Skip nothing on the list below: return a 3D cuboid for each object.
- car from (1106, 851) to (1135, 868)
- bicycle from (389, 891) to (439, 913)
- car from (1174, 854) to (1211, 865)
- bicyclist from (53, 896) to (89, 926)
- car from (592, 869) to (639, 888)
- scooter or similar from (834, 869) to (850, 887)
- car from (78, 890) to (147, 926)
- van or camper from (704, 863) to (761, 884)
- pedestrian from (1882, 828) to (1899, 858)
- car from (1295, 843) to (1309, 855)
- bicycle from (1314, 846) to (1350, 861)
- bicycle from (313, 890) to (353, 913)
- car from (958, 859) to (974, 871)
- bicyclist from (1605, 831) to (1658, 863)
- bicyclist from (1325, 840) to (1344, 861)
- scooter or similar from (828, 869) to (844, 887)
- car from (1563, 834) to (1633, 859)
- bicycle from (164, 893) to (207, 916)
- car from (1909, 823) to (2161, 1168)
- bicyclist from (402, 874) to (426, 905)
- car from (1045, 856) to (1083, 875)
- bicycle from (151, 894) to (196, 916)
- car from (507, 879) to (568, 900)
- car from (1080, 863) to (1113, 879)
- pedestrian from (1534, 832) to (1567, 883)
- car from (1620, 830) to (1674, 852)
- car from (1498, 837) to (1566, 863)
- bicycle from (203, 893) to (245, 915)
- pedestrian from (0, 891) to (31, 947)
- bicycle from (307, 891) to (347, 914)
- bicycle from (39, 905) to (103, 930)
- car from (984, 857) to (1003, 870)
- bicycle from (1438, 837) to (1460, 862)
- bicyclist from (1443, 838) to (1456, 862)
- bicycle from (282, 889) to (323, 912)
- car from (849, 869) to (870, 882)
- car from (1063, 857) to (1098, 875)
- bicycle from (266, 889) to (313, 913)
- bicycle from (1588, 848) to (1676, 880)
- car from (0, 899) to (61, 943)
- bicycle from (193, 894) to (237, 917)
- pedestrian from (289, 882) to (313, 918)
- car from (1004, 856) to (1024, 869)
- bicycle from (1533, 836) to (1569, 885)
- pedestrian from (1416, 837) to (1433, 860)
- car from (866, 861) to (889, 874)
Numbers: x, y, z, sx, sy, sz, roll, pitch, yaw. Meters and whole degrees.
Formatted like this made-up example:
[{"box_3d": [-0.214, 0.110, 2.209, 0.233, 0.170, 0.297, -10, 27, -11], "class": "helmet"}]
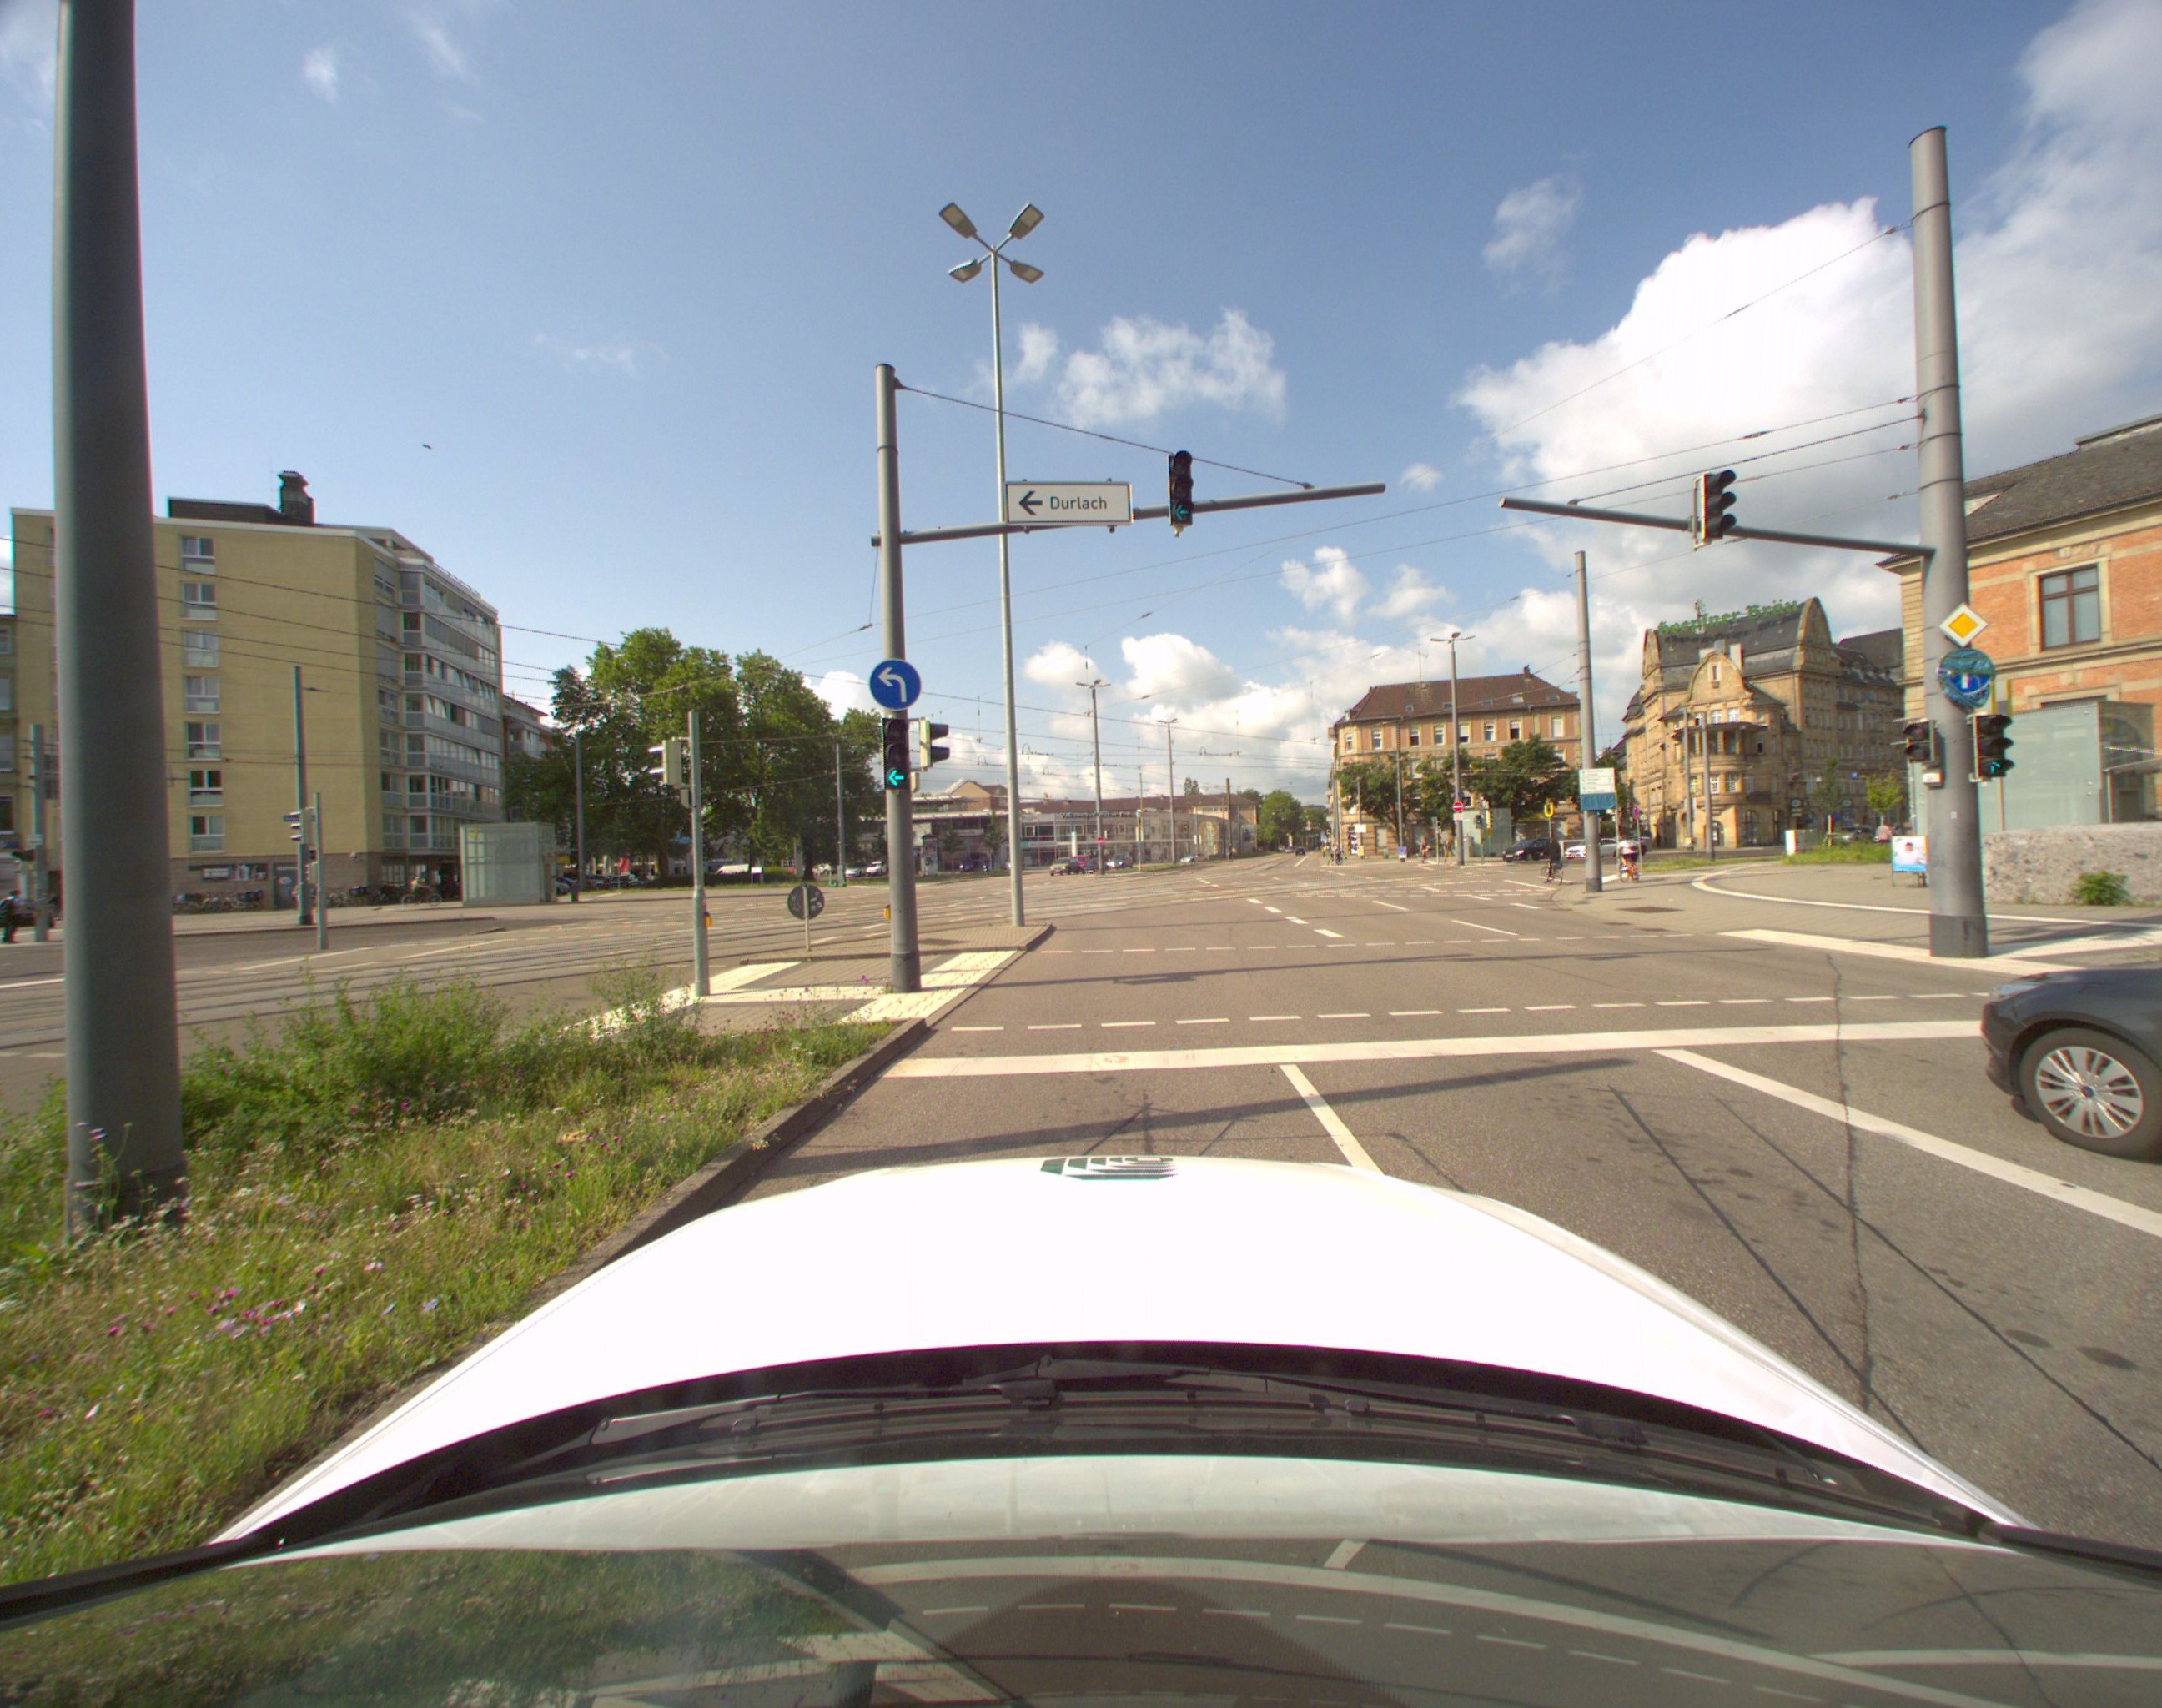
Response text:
[{"box_3d": [4.038, 0.572, 82.414, 1.978, 1.552, 4.018, -2, 0, 17], "class": "car"}, {"box_3d": [-37.816, 2.729, 46.198, 1.993, 1.127, 0.784, -2, 0, -22], "class": "bicycle"}, {"box_3d": [14.556, 0.733, 106.231, 4.492, 1.464, 1.766, 0, 0, -28], "class": "car"}, {"box_3d": [-52.855, 2.970, 42.614, 0.833, 1.497, 0.785, -2, 0, -16], "class": "bicyclist"}, {"box_3d": [-45.703, 2.393, 79.999, 3.611, 1.594, 1.659, -2, 0, -12], "class": "car"}, {"box_3d": [-16.245, 1.630, 55.416, 0.377, 1.157, 0.935, 4, 1, 36], "class": "scooter or similar"}, {"box_3d": [-46.670, 2.580, 39.247, 3.467, 1.440, 1.730, 2, -1, 34], "class": "car"}, {"box_3d": [-41.595, 2.350, 97.251, 5.848, 2.469, 2.396, 0, 0, 5], "class": "van or camper"}, {"box_3d": [42.478, -0.580, 42.751, 0.501, 1.505, 0.501, -2, 0, -33], "class": "pedestrian"}, {"box_3d": [39.490, -0.867, 145.699, 1.977, 2.013, 4.020, -2, 0, 20], "class": "car"}, {"box_3d": [20.394, -0.044, 66.175, 2.668, 1.170, 0.899, -2, 0, -6], "class": "bicycle"}, {"box_3d": [-44.638, 2.852, 48.618, 1.641, 1.272, 0.486, 3, -1, -13], "class": "bicycle"}, {"box_3d": [-14.464, 1.366, 102.794, 1.918, 1.445, 3.989, -2, 0, -8], "class": "car"}, {"box_3d": [18.888, -0.215, 27.979, 0.987, 1.028, 1.215, 1, -3, 1], "class": "bicyclist"}, {"box_3d": [20.622, -0.289, 66.175, 1.192, 1.658, 0.784, -2, 0, -5], "class": "bicyclist"}, {"box_3d": [-16.754, 1.635, 55.707, 0.934, 1.157, 0.377, 2, 1, -43], "class": "scooter or similar"}, {"box_3d": [37.156, -0.520, 58.519, 4.693, 1.595, 1.983, -3, 1, -25], "class": "car"}, {"box_3d": [-51.296, 2.895, 46.664, 1.641, 1.202, 0.486, 3, -1, -13], "class": "bicycle"}, {"box_3d": [5.712, 0.626, 2.632, 1.761, 1.528, 4.256, -2, 0, 1], "class": "car"}, {"box_3d": [-37.847, 2.007, 46.248, 0.829, 1.745, 0.706, -2, 0, -22], "class": "bicyclist"}, {"box_3d": [-1.341, 0.934, 66.026, 1.806, 1.513, 4.018, -1, 0, 18], "class": "car"}, {"box_3d": [-51.365, 2.894, 46.097, 1.641, 1.202, 0.486, 3, -1, -13], "class": "bicycle"}, {"box_3d": [-43.337, 2.836, 64.979, 3.570, 1.530, 1.989, 0, 0, -16], "class": "car"}, {"box_3d": [1.271, 1.361, 65.696, 1.608, 1.161, 4.018, -1, 0, 18], "class": "car"}, {"box_3d": [17.372, 0.130, 30.155, 0.983, 1.841, 1.002, -1, -1, 27], "class": "pedestrian"}, {"box_3d": [45.682, -1.026, 65.739, 4.006, 1.600, 1.741, -2, 0, -24], "class": "car"}, {"box_3d": [30.929, -0.260, 55.835, 4.348, 1.739, 1.983, 0, 0, -26], "class": "car"}, {"box_3d": [-49.559, 2.884, 47.108, 1.641, 1.202, 0.486, 3, -1, -13], "class": "bicycle"}, {"box_3d": [-34.319, 2.053, 25.878, 0.794, 1.673, 0.840, 3, 1, -17], "class": "pedestrian"}, {"box_3d": [-44.507, 2.849, 48.097, 1.641, 1.272, 0.529, 3, -1, -13], "class": "bicycle"}, {"box_3d": [-52.816, 3.315, 42.608, 1.990, 1.127, 0.785, -2, 0, -17], "class": "bicycle"}, {"box_3d": [-11.031, 1.203, 102.494, 1.914, 1.445, 3.998, -2, 0, -1], "class": "car"}, {"box_3d": [26.540, -0.337, 58.734, 0.727, 1.777, 1.636, -2, 0, -2], "class": "bicycle"}, {"box_3d": [26.538, -0.290, 58.649, 0.571, 1.671, 0.656, -2, 0, -2], "class": "bicyclist"}, {"box_3d": [-46.018, 2.757, 48.148, 1.641, 1.272, 0.486, 3, -1, -13], "class": "bicycle"}, {"box_3d": [-28.357, 2.773, 104.324, 1.991, 1.574, 3.991, 0, 0, -6], "class": "car"}, {"box_3d": [-0.034, 1.058, 72.304, 1.978, 1.519, 4.018, -1, 0, 18], "class": "car"}, {"box_3d": [-46.182, 2.756, 47.530, 1.892, 1.272, 0.484, 3, 1, -24], "class": "bicycle"}, {"box_3d": [18.878, 0.366, 28.015, 0.989, 1.028, 3.109, 1, -2, 1], "class": "bicycle"}, {"box_3d": [-49.399, 3.066, 37.881, 5.000, 1.468, 1.903, 4, 1, 33], "class": "car"}, {"box_3d": [-49.497, 2.941, 46.549, 1.641, 1.202, 0.546, 3, -1, -13], "class": "bicycle"}, {"box_3d": [-38.979, 2.301, 40.686, 0.790, 1.760, 0.984, 0, -2, -39], "class": "pedestrian"}, {"box_3d": [-8.590, 1.057, 104.433, 1.911, 1.552, 4.004, -2, 0, 3], "class": "car"}, {"box_3d": [17.392, 0.235, 30.156, 0.996, 1.725, 2.483, -1, 0, 27], "class": "bicycle"}, {"box_3d": [26.822, -0.415, 63.672, 0.865, 1.810, 0.884, 0, 0, -10], "class": "pedestrian"}, {"box_3d": [-25.943, 1.695, 103.943, 2.062, 1.604, 3.997, -2, 0, -2], "class": "car"}]
